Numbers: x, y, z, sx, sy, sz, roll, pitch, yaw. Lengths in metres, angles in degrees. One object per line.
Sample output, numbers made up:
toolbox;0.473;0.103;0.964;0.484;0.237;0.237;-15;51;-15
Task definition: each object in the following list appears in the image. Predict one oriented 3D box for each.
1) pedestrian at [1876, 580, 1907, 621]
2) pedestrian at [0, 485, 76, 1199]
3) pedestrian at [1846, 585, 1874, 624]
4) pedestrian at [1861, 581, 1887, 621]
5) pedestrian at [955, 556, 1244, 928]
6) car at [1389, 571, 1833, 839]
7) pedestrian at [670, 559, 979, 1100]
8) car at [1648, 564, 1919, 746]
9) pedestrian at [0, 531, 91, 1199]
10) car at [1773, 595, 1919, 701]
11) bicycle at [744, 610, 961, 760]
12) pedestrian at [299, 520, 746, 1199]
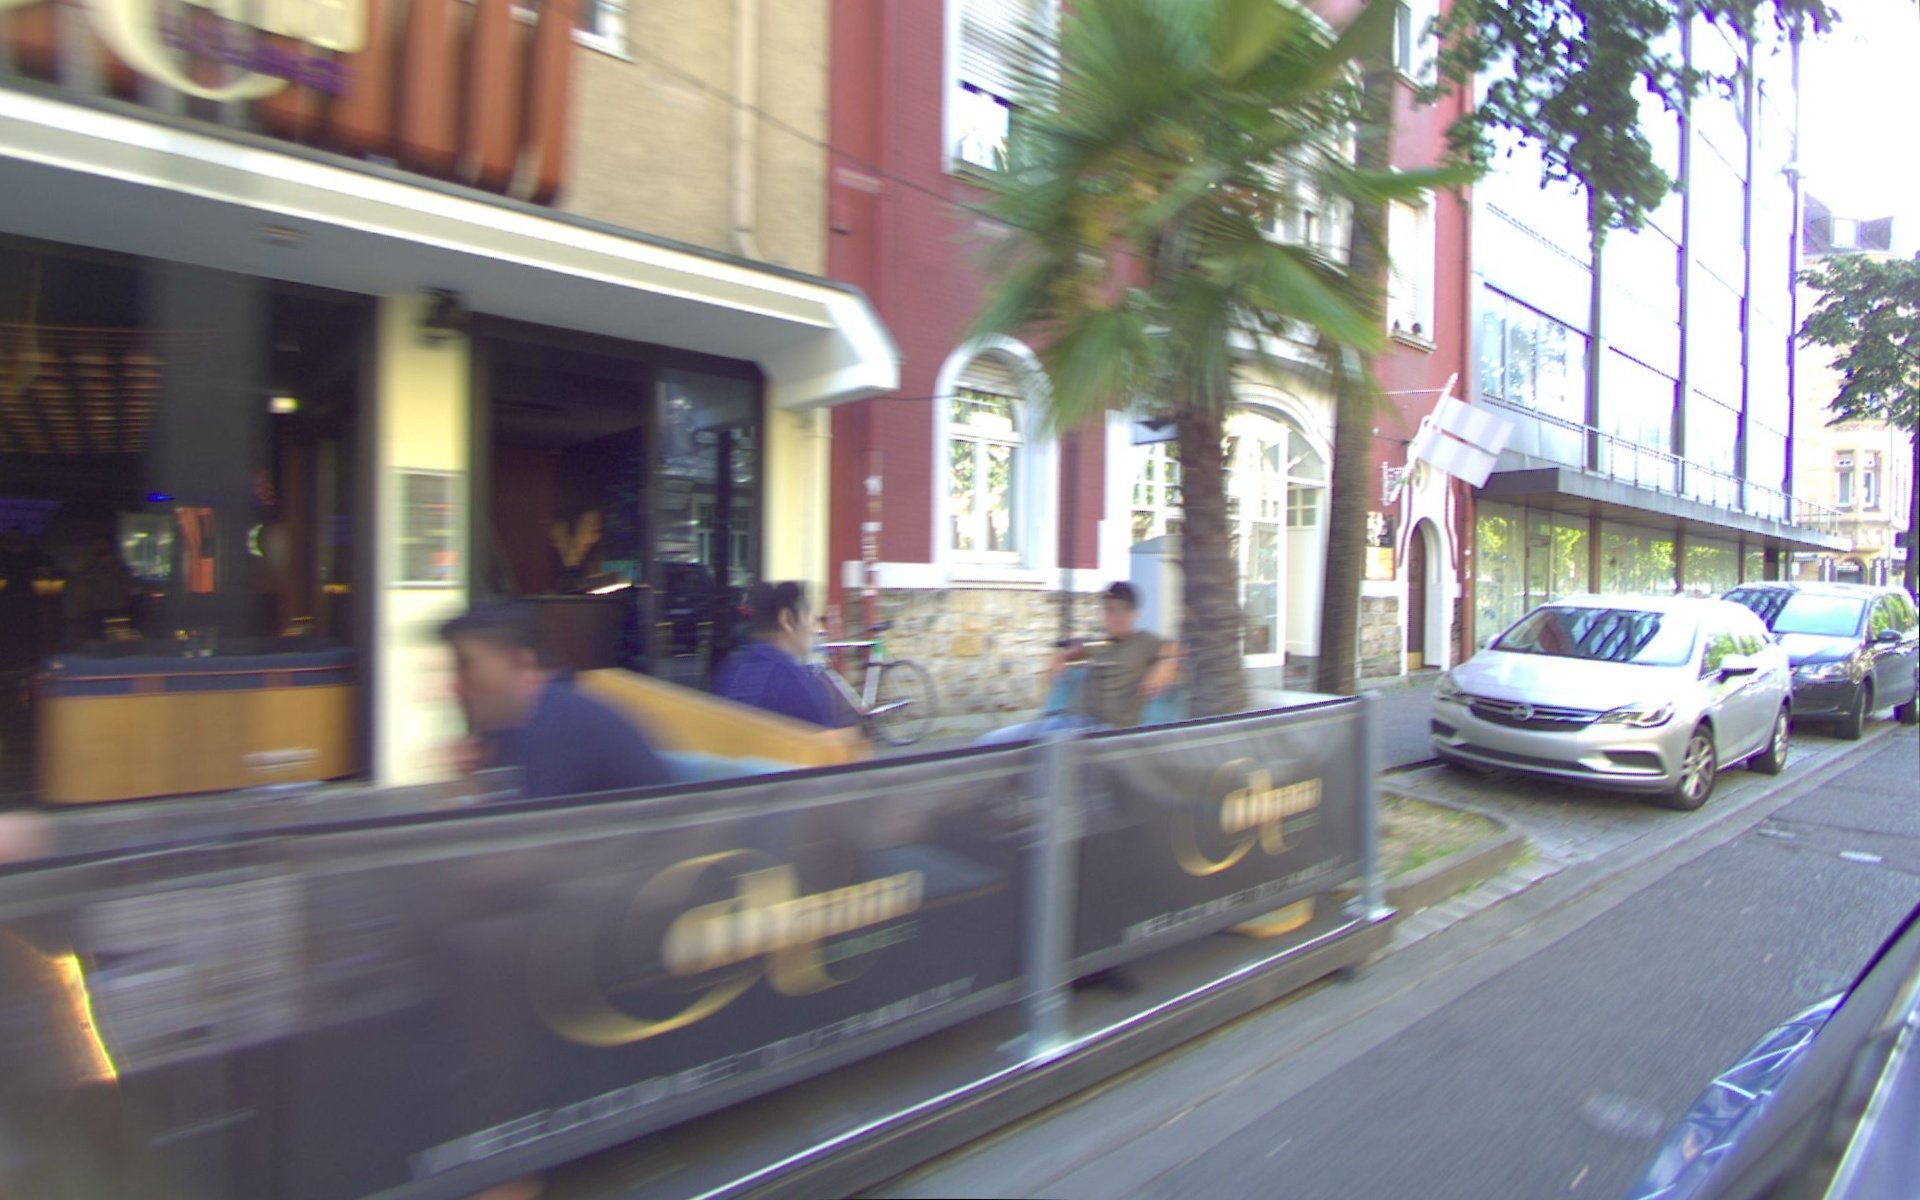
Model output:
pedestrian;39.206;0.011;42.616;0.663;1.712;0.619;0;2;4
pedestrian;-1.958;0.594;1.501;0.963;1.555;0.651;0;1;-42
pedestrian;39.074;0.189;43.946;0.701;1.713;0.621;0;1;-13
pedestrian;40.058;0.039;44.354;0.701;1.713;0.500;0;1;-13
pedestrian;0.652;0.577;4.915;0.875;1.555;1.059;0;1;-36
car;5.737;0.649;8.647;4.756;1.615;1.826;0;4;-41
pedestrian;-0.464;0.652;3.420;0.762;1.555;0.694;0;1;-39
car;10.599;0.555;12.577;4.838;1.799;1.828;0;4;-37
pedestrian;-2.479;0.622;2.176;0.753;1.555;0.715;1;1;-26
car;15.290;0.705;16.813;4.755;1.419;1.827;0;4;-40
bicycle;-0.787;0.598;7.765;1.671;1.014;0.475;0;2;-41
pedestrian;-0.989;0.625;2.331;0.791;1.555;0.753;1;1;-26
